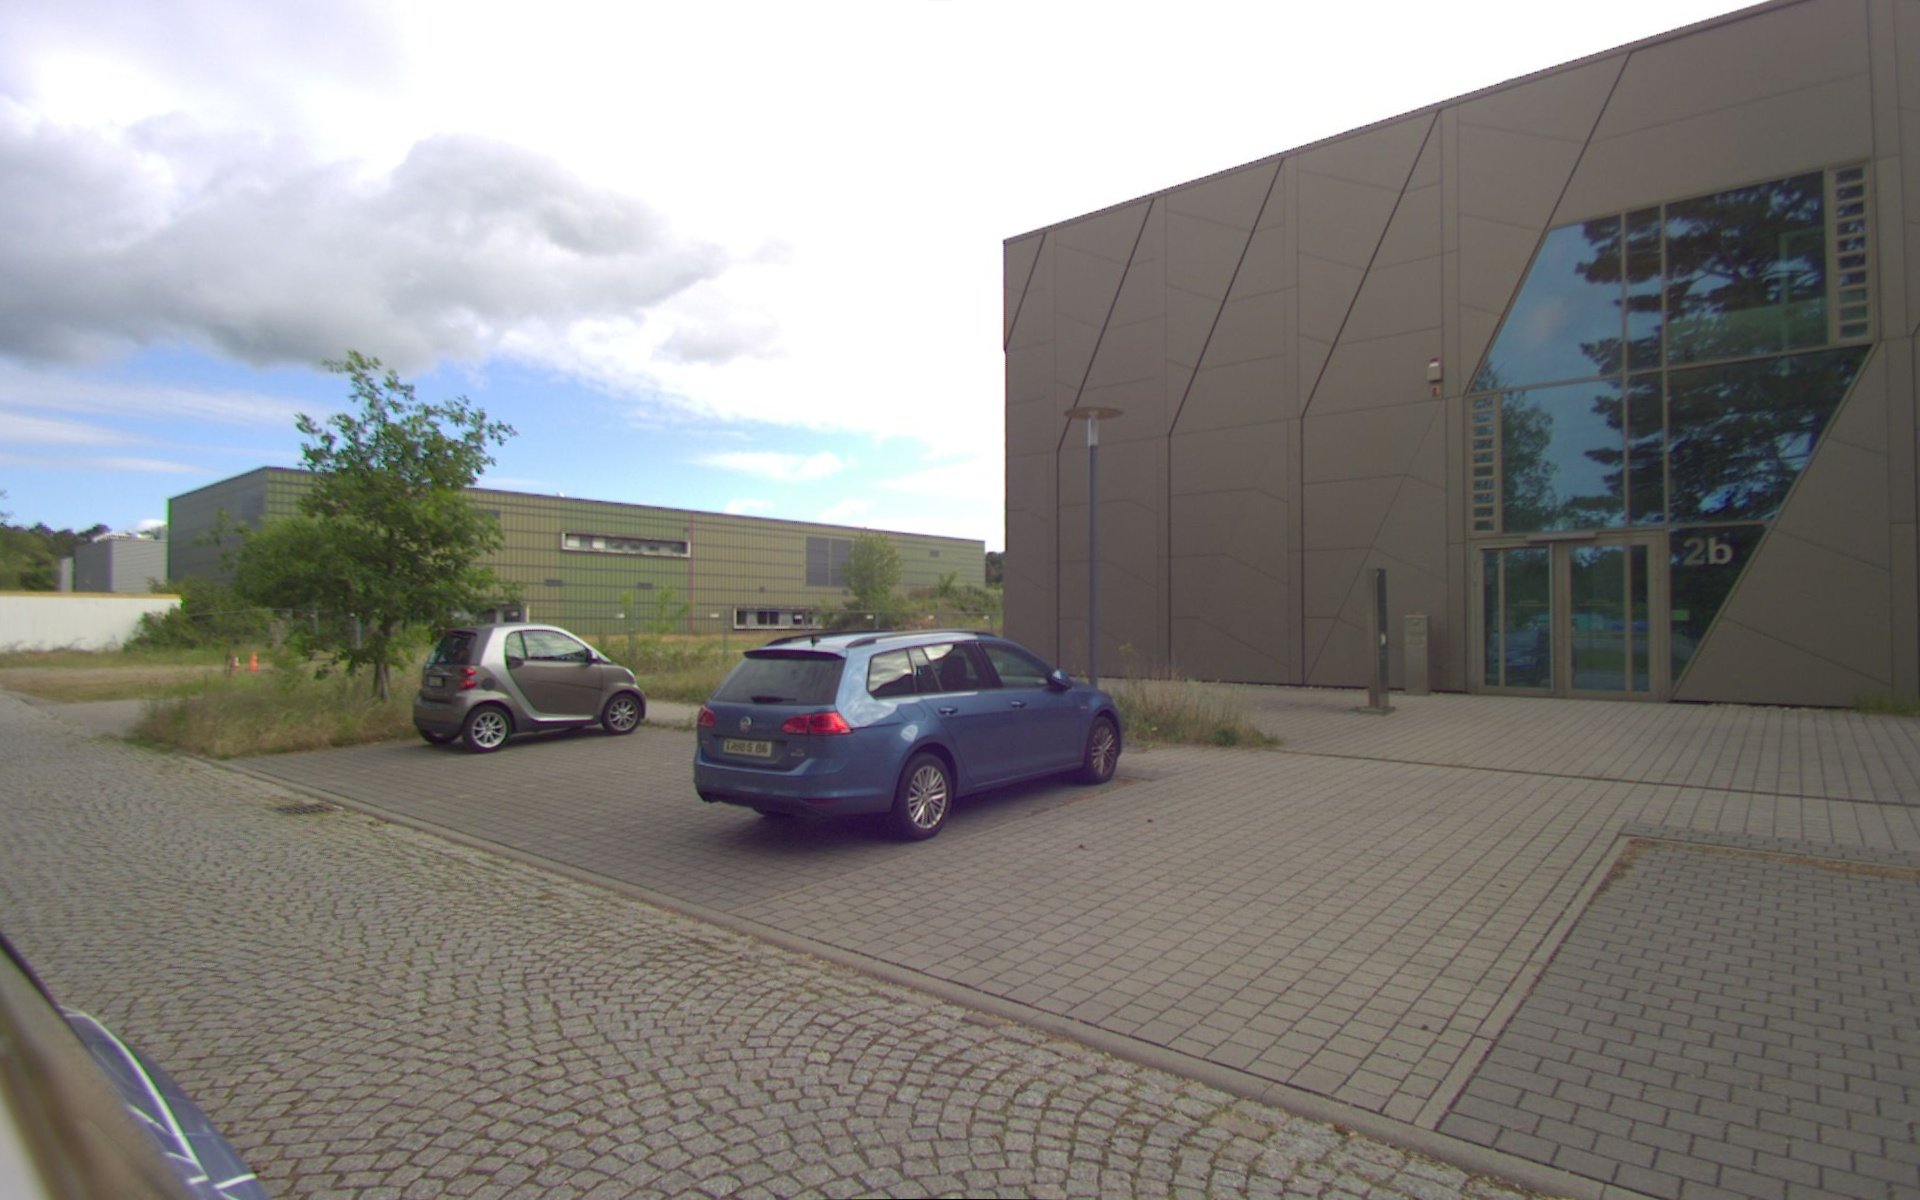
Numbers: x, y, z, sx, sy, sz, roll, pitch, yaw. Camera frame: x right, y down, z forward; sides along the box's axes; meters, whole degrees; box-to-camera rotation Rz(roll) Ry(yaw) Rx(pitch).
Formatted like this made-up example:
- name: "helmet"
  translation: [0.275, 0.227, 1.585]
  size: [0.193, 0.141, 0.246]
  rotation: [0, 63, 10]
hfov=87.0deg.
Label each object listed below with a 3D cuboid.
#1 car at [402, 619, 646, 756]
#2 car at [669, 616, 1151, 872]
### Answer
- name: "car"
  translation: [-5.706, 1.062, 13.395]
  size: [1.498, 1.541, 2.553]
  rotation: [-1, 0, 38]
- name: "car"
  translation: [-0.132, 0.943, 8.583]
  size: [1.631, 1.480, 4.373]
  rotation: [-1, 0, 38]
